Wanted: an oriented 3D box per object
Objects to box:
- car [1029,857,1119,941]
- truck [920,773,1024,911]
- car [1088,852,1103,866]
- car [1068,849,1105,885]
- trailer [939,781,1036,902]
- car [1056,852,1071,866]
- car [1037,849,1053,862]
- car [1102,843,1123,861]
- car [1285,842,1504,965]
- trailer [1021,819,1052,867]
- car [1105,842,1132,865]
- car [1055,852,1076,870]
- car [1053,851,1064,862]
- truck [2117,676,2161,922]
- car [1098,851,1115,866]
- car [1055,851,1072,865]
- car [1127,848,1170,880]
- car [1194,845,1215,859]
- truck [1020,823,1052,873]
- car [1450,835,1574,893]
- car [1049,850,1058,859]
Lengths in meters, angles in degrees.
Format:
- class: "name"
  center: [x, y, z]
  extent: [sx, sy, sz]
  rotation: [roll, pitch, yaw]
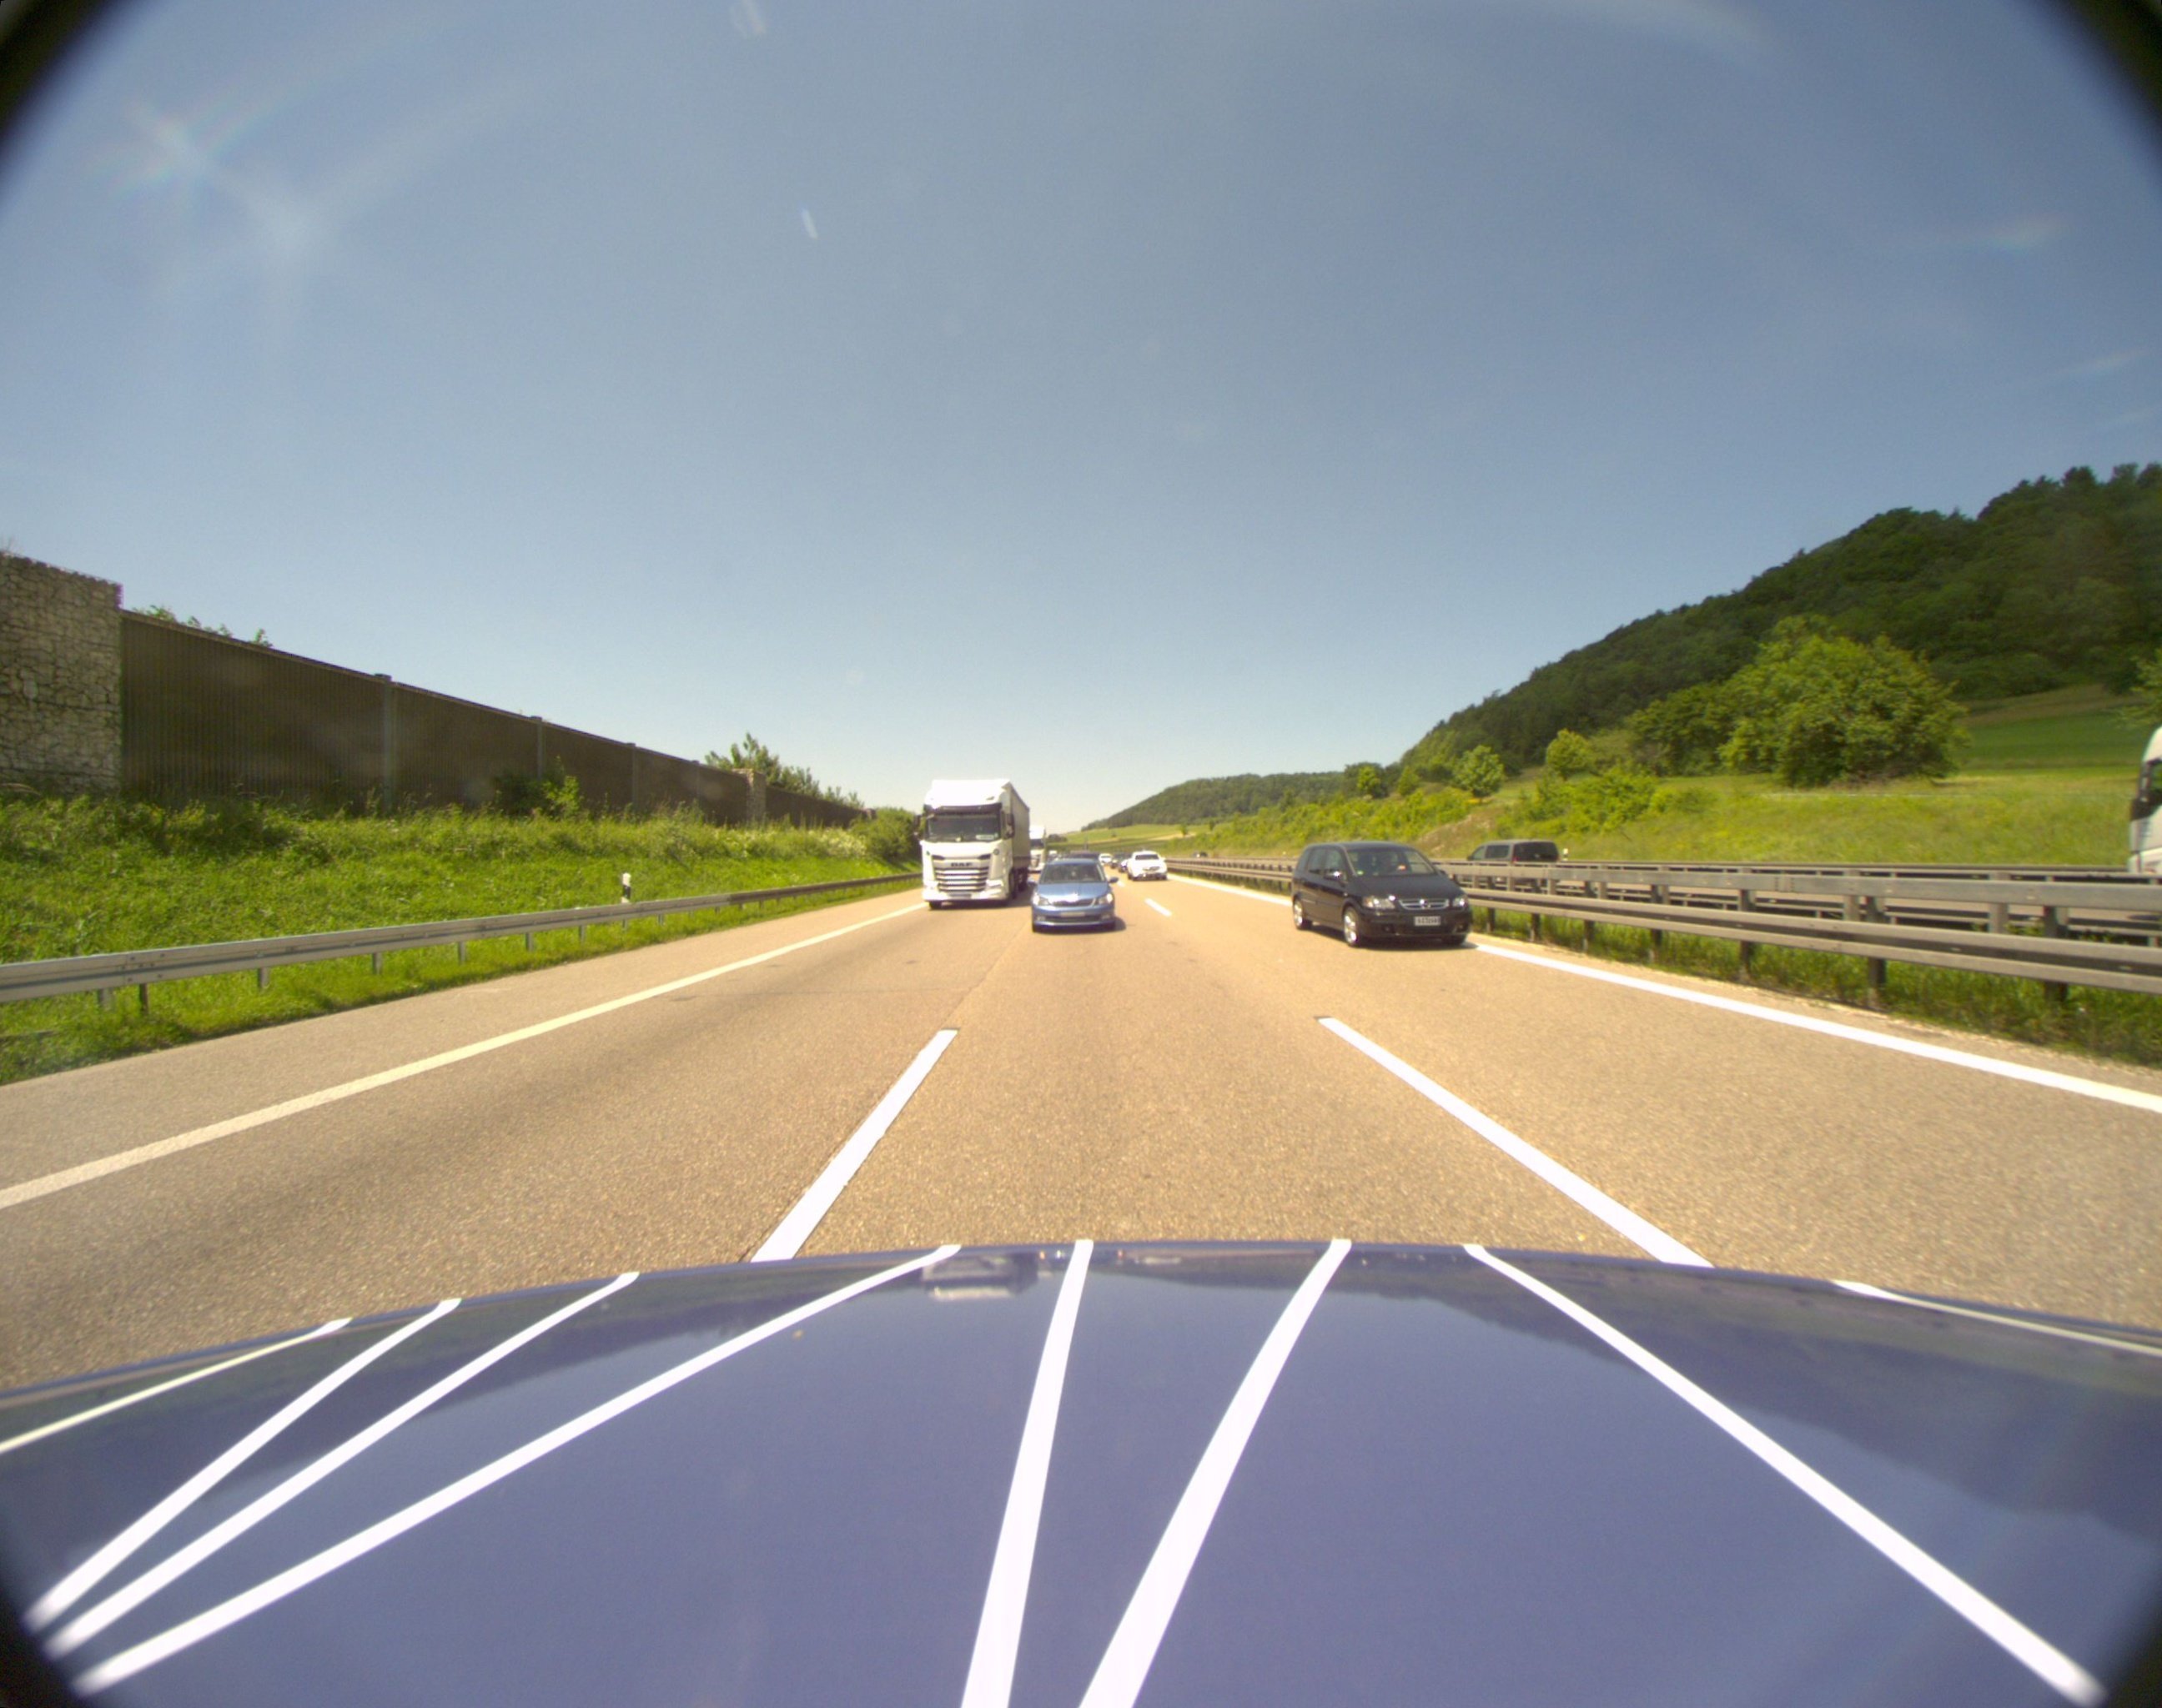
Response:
- class: "car"
  center: [-0.197, 0.859, 16.637]
  extent: [1.660, 1.481, 4.652]
  rotation: [-1, 0, -2]
- class: "truck"
  center: [-3.402, -0.373, 25.206]
  extent: [2.484, 3.954, 6.380]
  rotation: [-1, 1, -1]
- class: "car"
  center: [1.968, 0.707, 104.178]
  extent: [1.998, 1.702, 4.000]
  rotation: [-2, 1, 2]
- class: "car"
  center: [0.257, 0.624, 38.603]
  extent: [1.737, 1.674, 4.197]
  rotation: [-1, 0, 0]
- class: "trailer"
  center: [-3.493, -0.462, 32.032]
  extent: [2.484, 3.954, 13.653]
  rotation: [-1, 0, -1]
- class: "car"
  center: [-2.484, 0.694, 105.958]
  extent: [1.999, 1.702, 3.999]
  rotation: [-2, 1, -2]
- class: "car"
  center: [-5.031, 0.152, 106.471]
  extent: [1.999, 1.702, 3.999]
  rotation: [-2, 1, -2]
- class: "car"
  center: [3.116, -0.241, 76.368]
  extent: [1.998, 1.702, 4.000]
  rotation: [-2, 1, 2]
- class: "car"
  center: [4.838, 0.651, 12.501]
  extent: [1.805, 1.625, 4.446]
  rotation: [-1, 0, 1]
- class: "trailer"
  center: [-4.273, -1.071, 73.035]
  extent: [2.545, 4.085, 13.622]
  rotation: [-2, 1, -3]
- class: "car"
  center: [2.996, -0.053, 61.116]
  extent: [1.998, 1.692, 4.000]
  rotation: [-2, 1, 2]
- class: "car"
  center: [-1.584, 0.666, 77.945]
  extent: [1.999, 1.702, 3.999]
  rotation: [-2, 1, -2]
- class: "car"
  center: [-4.365, 0.431, 144.721]
  extent: [1.999, 2.002, 3.999]
  rotation: [-2, 1, -2]
- class: "truck"
  center: [19.867, -0.935, 9.936]
  extent: [2.805, 4.208, 7.230]
  rotation: [-2, 1, 0]
- class: "car"
  center: [3.115, 0.510, 93.738]
  extent: [1.998, 1.702, 4.000]
  rotation: [-2, 1, 2]
- class: "car"
  center: [-2.277, 0.516, 97.425]
  extent: [1.999, 1.702, 3.999]
  rotation: [-2, 1, -2]
- class: "car"
  center: [3.736, 0.524, 42.521]
  extent: [1.998, 1.612, 3.999]
  rotation: [-2, 1, 0]
- class: "car"
  center: [14.835, -0.214, 91.489]
  extent: [1.854, 1.600, 4.078]
  rotation: [-1, 0, 0]
- class: "truck"
  center: [-3.955, -0.549, 67.150]
  extent: [2.532, 4.065, 6.077]
  rotation: [-2, 1, -3]
- class: "car"
  center: [15.403, 0.316, 27.441]
  extent: [1.998, 1.842, 4.406]
  rotation: [-2, 0, 1]
- class: "car"
  center: [-6.404, 0.132, 175.369]
  extent: [1.999, 2.002, 3.999]
  rotation: [-2, 1, -2]
